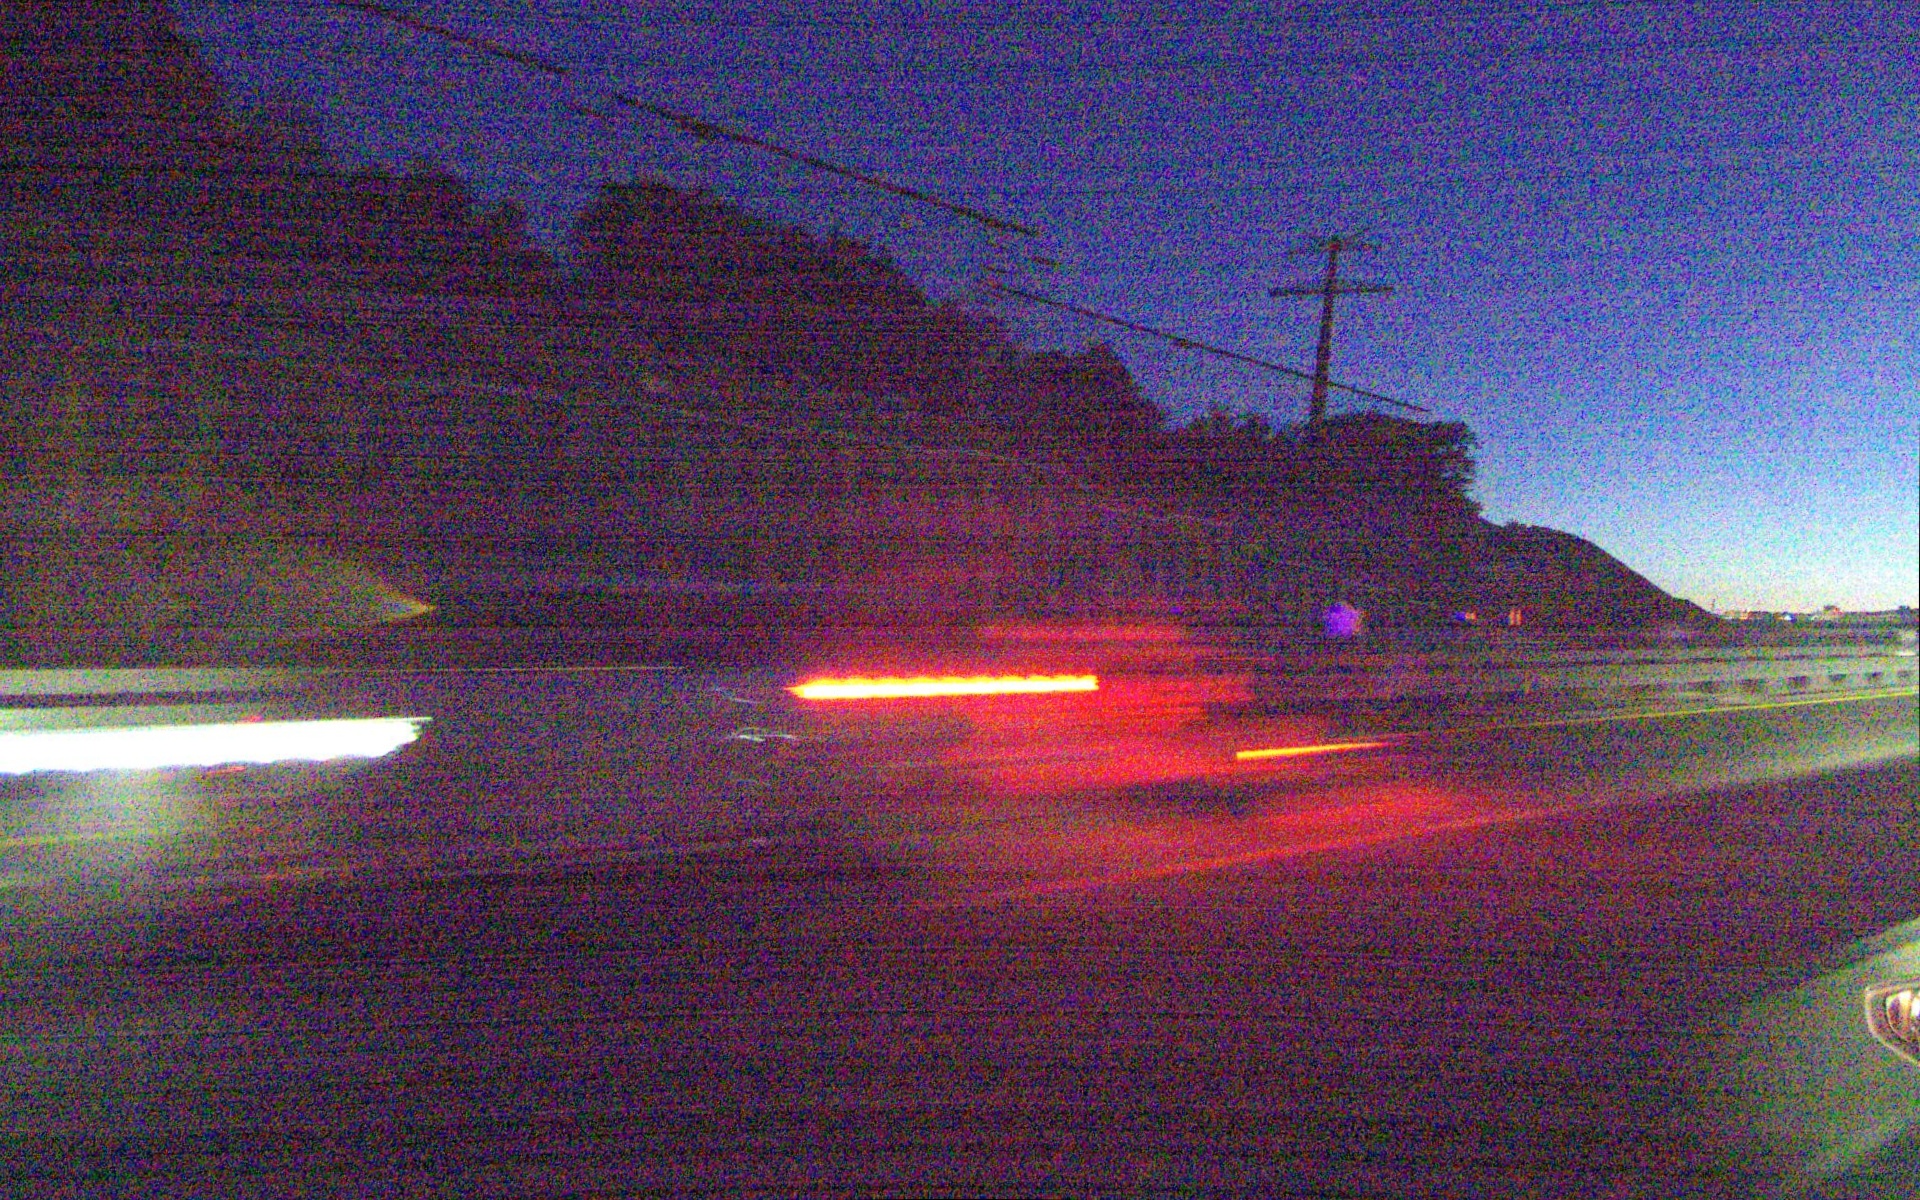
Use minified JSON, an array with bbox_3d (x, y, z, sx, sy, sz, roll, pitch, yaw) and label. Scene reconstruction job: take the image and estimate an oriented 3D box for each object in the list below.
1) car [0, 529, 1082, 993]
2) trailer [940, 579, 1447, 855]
[{"bbox_3d":[-1.852,0.647,5.672,4.805,1.661,2.004,2,-1,-30],"label":"car"},{"bbox_3d":[1.803,0.740,7.779,3.377,1.661,2.004,1,-1,-30],"label":"trailer"}]
